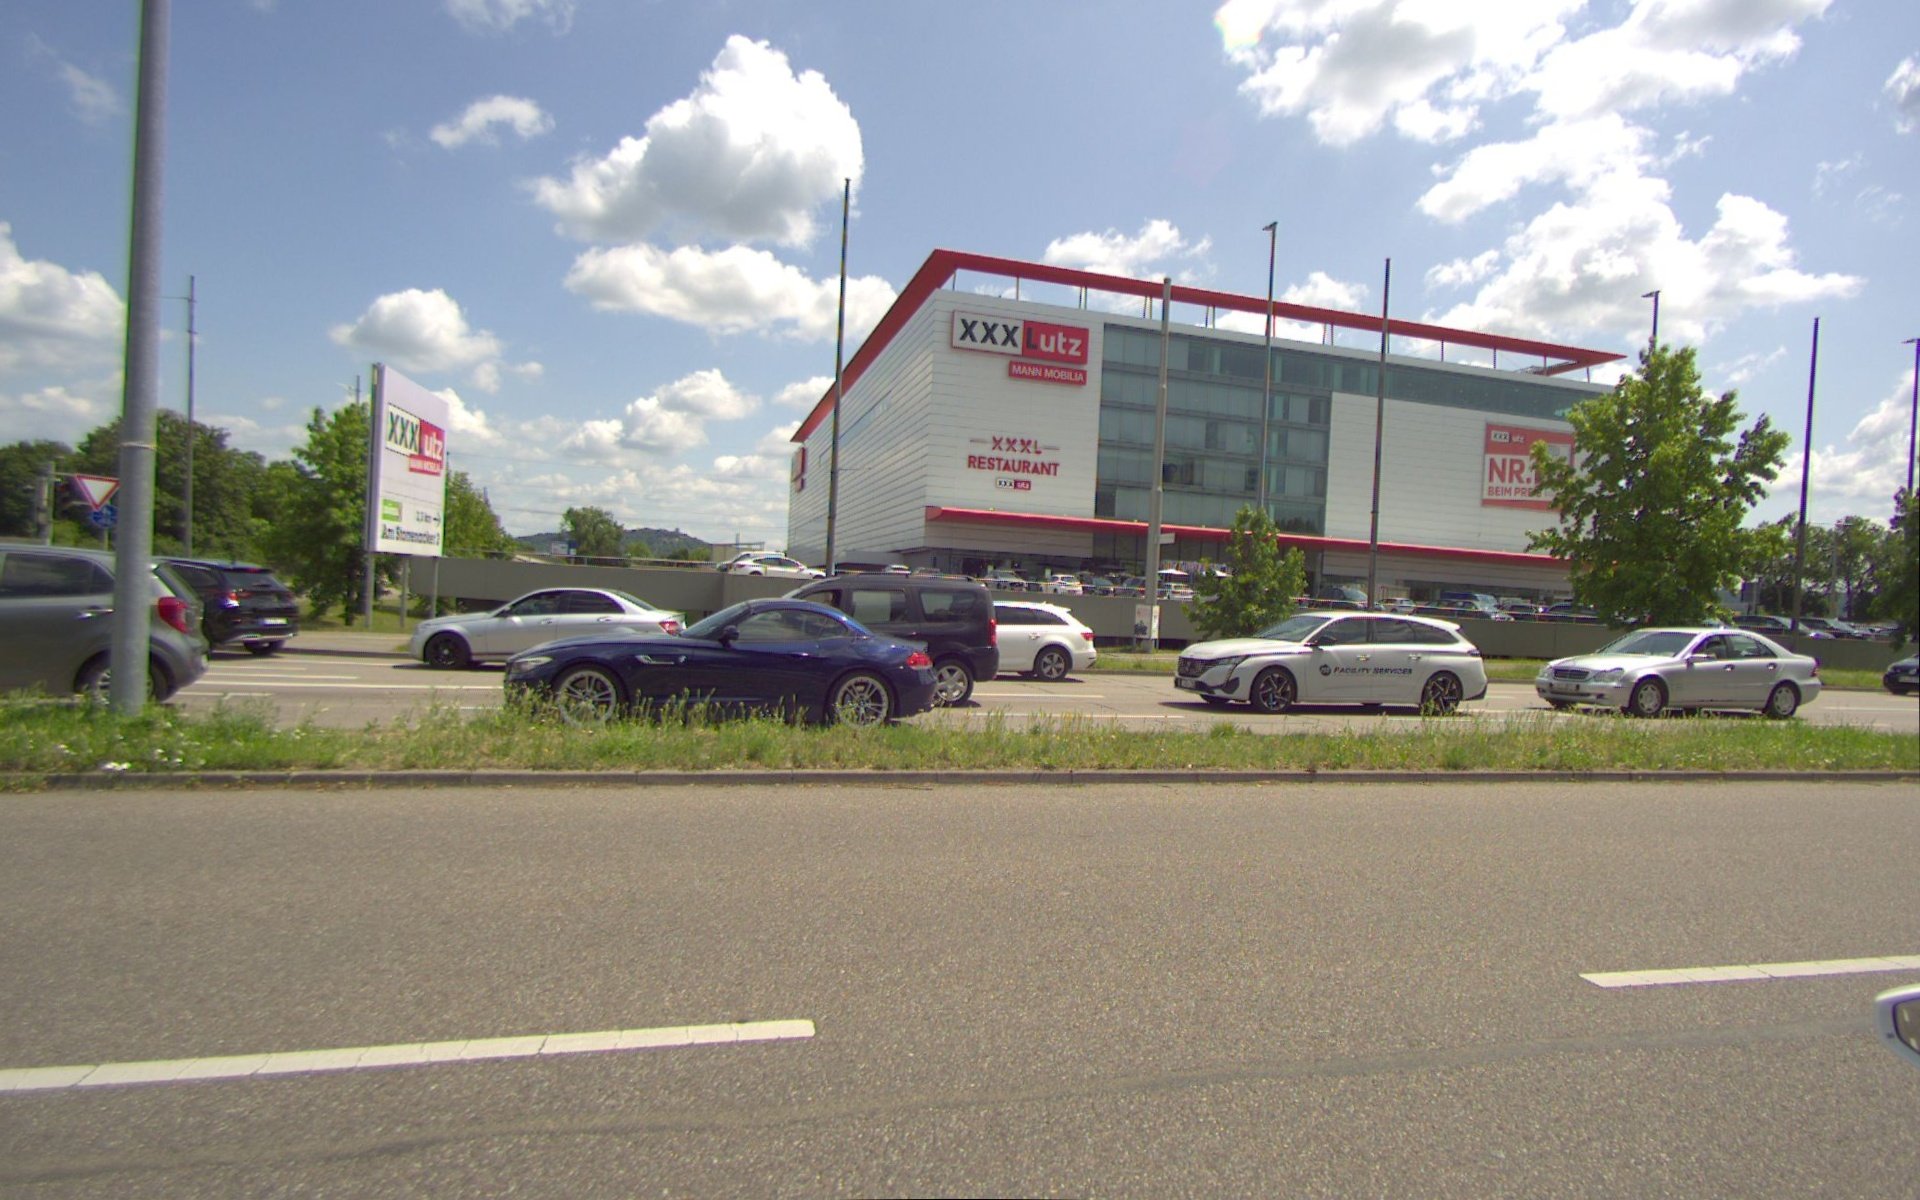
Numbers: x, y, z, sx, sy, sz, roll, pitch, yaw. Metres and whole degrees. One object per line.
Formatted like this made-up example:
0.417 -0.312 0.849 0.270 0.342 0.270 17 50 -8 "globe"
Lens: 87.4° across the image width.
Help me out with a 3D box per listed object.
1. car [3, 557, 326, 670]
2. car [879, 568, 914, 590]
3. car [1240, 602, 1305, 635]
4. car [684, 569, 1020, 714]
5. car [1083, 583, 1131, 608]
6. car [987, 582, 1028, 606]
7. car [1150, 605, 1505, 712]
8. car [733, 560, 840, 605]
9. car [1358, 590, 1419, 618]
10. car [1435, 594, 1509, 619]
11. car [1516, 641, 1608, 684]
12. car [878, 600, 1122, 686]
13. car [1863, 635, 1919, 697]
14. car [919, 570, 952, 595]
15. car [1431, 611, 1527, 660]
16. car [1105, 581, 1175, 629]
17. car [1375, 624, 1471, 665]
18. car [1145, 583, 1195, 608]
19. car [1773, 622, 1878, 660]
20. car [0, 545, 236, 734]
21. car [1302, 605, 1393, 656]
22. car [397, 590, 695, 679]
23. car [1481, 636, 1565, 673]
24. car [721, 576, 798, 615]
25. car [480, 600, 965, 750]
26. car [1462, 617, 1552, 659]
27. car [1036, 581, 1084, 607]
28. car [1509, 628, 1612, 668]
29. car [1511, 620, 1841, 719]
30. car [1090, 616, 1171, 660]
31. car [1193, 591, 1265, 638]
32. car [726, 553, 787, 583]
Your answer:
-13.175 0.237 16.908 3.805 1.724 1.792 1 0 -14 "car"
-4.744 -1.537 75.094 1.825 1.565 3.820 2 0 -16 "car"
20.544 1.205 66.252 1.968 2.015 4.347 2 0 -16 "car"
-1.468 0.546 13.341 4.155 1.724 1.792 1 0 -14 "car"
9.171 -0.272 63.078 1.823 1.489 3.825 2 0 -11 "car"
3.100 -0.381 66.369 1.823 1.489 3.826 2 0 -10 "car"
5.380 0.849 14.824 4.764 1.420 1.792 1 -1 -15 "car"
-7.922 -0.771 45.893 4.599 1.857 1.849 2 0 -17 "car"
32.447 0.319 76.183 1.968 2.016 4.347 2 0 -16 "car"
39.645 0.504 77.999 2.164 1.802 5.115 2 0 -17 "car"
32.352 3.334 54.115 1.967 2.040 3.986 2 0 -16 "car"
0.729 0.806 18.920 4.287 1.492 1.619 1 0 -16 "car"
25.299 1.692 25.412 4.045 1.489 1.620 2 0 -13 "car"
-1.608 -1.116 64.948 1.562 1.489 3.826 2 0 -10 "car"
27.117 1.816 52.654 1.968 2.360 4.347 2 0 -16 "car"
9.363 0.239 52.523 1.966 2.360 4.351 2 0 -14 "car"
20.496 1.952 44.655 1.818 1.617 3.990 2 0 -13 "car"
13.446 -0.283 64.506 1.652 1.489 3.822 2 0 -14 "car"
51.951 2.428 60.402 1.968 2.015 4.347 2 0 -16 "car"
-8.819 0.313 8.942 3.730 1.581 1.781 1 0 -34 "car"
19.436 1.484 50.620 1.968 2.360 4.347 2 0 -16 "car"
-6.958 0.589 17.345 4.504 1.409 1.620 1 0 -13 "car"
34.910 3.346 62.417 1.968 2.015 4.347 2 0 -16 "car"
-10.578 -0.225 52.934 3.774 1.857 1.848 2 0 -19 "car"
-2.223 0.685 9.930 4.234 1.268 1.792 1 0 -14 "car"
29.339 2.016 53.982 1.967 2.040 3.986 2 0 -16 "car"
6.185 -0.348 62.600 1.824 1.489 3.823 2 0 -13 "car"
27.686 2.179 46.453 1.814 1.617 3.990 2 0 -13 "car"
11.617 1.114 16.384 4.594 1.437 1.793 1 0 -13 "car"
7.004 1.529 41.625 1.886 1.617 3.990 2 0 -13 "car"
14.239 0.741 53.407 1.965 2.360 4.354 2 0 -11 "car"
-13.700 -2.144 67.554 3.772 1.857 1.849 2 0 -17 "car"
